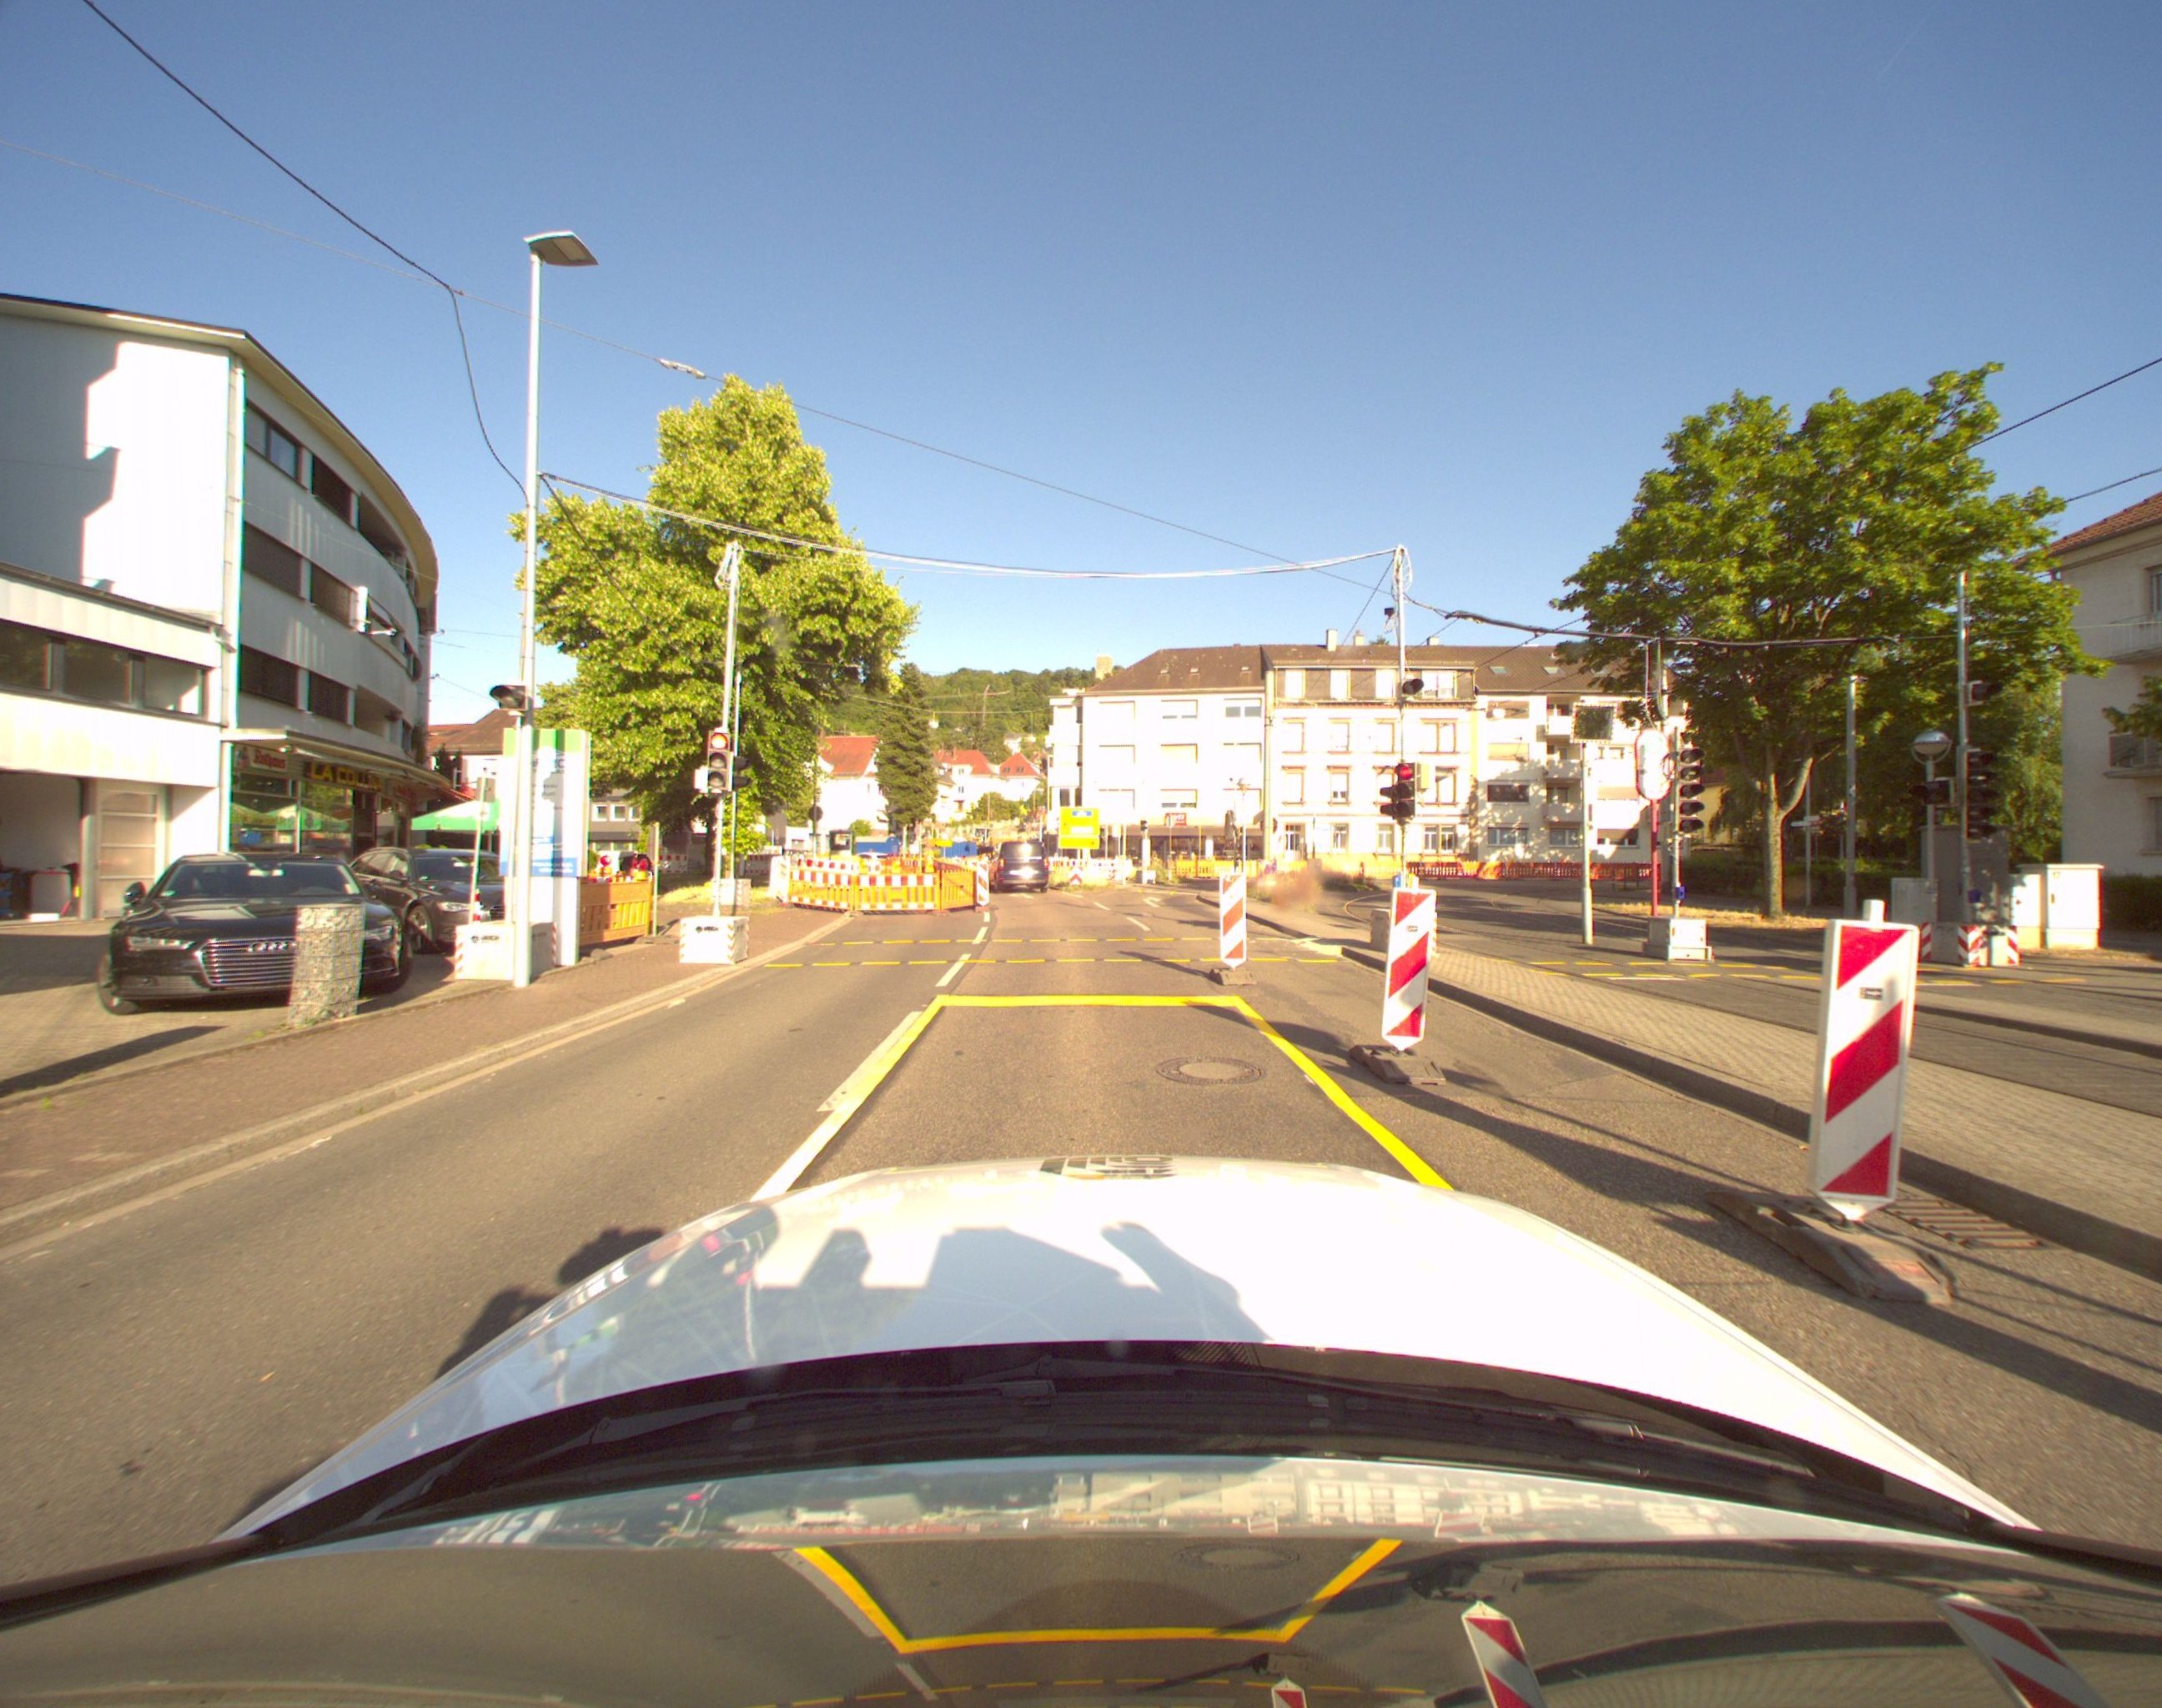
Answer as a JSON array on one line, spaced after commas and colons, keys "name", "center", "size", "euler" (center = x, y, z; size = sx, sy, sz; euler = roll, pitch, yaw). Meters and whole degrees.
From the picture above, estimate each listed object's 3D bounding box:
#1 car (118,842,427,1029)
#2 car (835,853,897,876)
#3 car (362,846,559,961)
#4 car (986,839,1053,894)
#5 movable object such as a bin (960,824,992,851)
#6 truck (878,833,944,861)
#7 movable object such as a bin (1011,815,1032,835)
[{"name": "car", "center": [-8.621, 0.652, 8.667], "size": [4.259, 1.454, 1.922], "euler": [1, 0, 42]}, {"name": "car", "center": [-13.964, 0.667, 52.878], "size": [3.948, 1.409, 1.811], "euler": [0, -1, 36]}, {"name": "car", "center": [-9.755, 0.645, 12.678], "size": [4.245, 1.454, 1.660], "euler": [1, 0, 42]}, {"name": "car", "center": [-2.538, 0.432, 32.380], "size": [2.063, 2.013, 4.980], "euler": [1, 0, -12]}, {"name": "movable object such as a bin", "center": [-10.900, -1.716, 84.783], "size": [2.176, 2.690, 4.012], "euler": [0, 0, 11]}, {"name": "truck", "center": [-15.295, -0.576, 74.221], "size": [2.340, 2.416, 9.182], "euler": [0, 0, 12]}, {"name": "movable object such as a bin", "center": [-8.701, -4.204, 119.305], "size": [2.176, 2.690, 4.012], "euler": [0, 0, 11]}]
